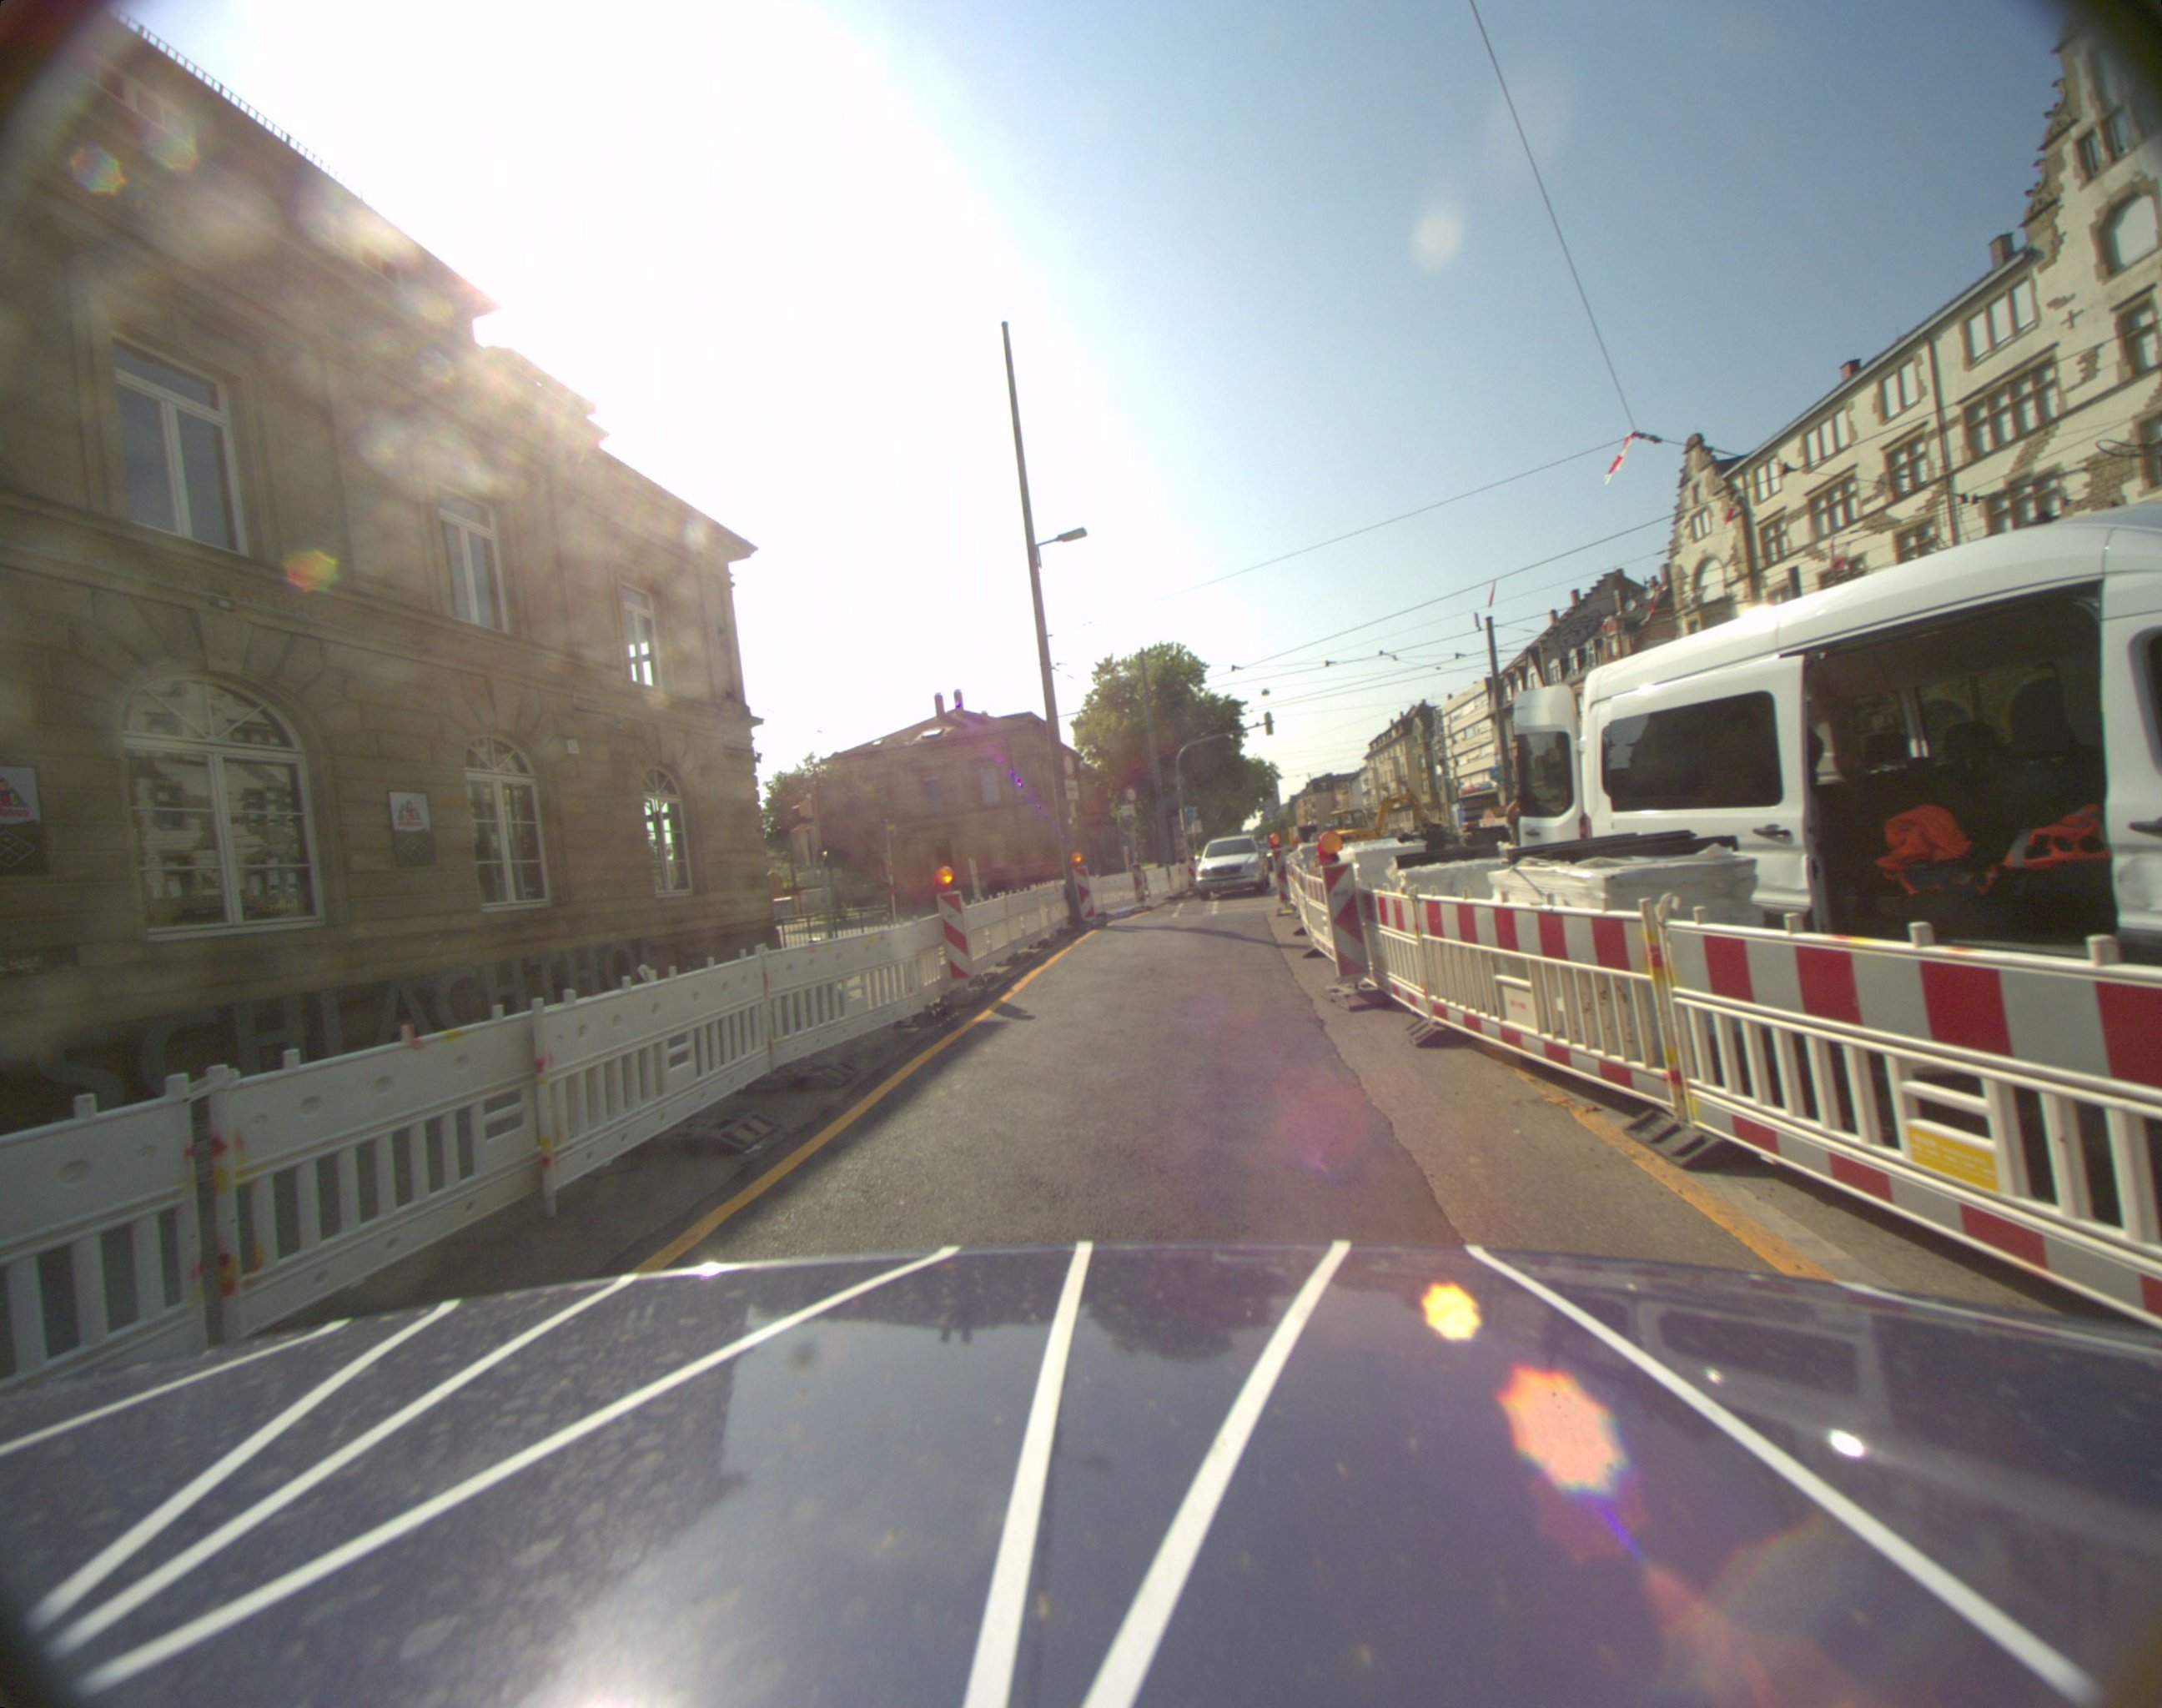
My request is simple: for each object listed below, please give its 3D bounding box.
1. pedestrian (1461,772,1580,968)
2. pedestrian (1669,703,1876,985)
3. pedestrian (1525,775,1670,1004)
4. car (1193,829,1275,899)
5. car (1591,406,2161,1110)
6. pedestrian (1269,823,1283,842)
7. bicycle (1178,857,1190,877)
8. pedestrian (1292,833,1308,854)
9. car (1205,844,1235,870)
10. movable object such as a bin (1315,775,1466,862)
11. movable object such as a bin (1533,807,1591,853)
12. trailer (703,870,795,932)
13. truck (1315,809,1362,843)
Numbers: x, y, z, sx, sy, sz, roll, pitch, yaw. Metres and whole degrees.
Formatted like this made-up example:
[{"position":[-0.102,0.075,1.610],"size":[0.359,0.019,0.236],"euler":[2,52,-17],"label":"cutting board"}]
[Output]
[{"position":[4.808,0.158,8.304],"size":[0.734,2.002,0.908],"euler":[-6,1,44],"label":"pedestrian"},{"position":[5.413,-0.070,6.028],"size":[0.735,2.002,0.908],"euler":[-7,0,16],"label":"pedestrian"},{"position":[4.878,0.324,7.256],"size":[0.735,2.002,0.908],"euler":[-7,0,17],"label":"pedestrian"},{"position":[4.655,0.243,23.260],"size":[1.997,1.685,5.229],"euler":[-7,0,11],"label":"car"},{"position":[5.282,-0.454,3.363],"size":[2.230,2.713,5.170],"euler":[-7,0,-1],"label":"car"},{"position":[21.959,-2.450,85.595],"size":[0.910,2.002,0.913],"euler":[-9,1,37],"label":"pedestrian"},{"position":[5.669,0.695,41.705],"size":[0.411,0.981,1.377],"euler":[-7,0,13],"label":"bicycle"},{"position":[18.939,-0.904,65.623],"size":[1.034,1.700,1.096],"euler":[-7,0,10],"label":"pedestrian"},{"position":[10.706,0.174,58.715],"size":[1.997,1.685,5.229],"euler":[-7,-1,10],"label":"car"},{"position":[14.844,-1.671,36.585],"size":[6.162,3.326,2.115],"euler":[-8,0,-9],"label":"movable object such as a bin"},{"position":[13.948,-0.691,22.086],"size":[0.751,1.163,2.293],"euler":[-7,0,18],"label":"movable object such as a bin"},{"position":[-19.967,2.800,45.886],"size":[3.996,3.051,2.556],"euler":[-7,2,2],"label":"trailer"},{"position":[19.715,-2.120,58.526],"size":[2.162,2.209,7.054],"euler":[-7,0,10],"label":"truck"}]
